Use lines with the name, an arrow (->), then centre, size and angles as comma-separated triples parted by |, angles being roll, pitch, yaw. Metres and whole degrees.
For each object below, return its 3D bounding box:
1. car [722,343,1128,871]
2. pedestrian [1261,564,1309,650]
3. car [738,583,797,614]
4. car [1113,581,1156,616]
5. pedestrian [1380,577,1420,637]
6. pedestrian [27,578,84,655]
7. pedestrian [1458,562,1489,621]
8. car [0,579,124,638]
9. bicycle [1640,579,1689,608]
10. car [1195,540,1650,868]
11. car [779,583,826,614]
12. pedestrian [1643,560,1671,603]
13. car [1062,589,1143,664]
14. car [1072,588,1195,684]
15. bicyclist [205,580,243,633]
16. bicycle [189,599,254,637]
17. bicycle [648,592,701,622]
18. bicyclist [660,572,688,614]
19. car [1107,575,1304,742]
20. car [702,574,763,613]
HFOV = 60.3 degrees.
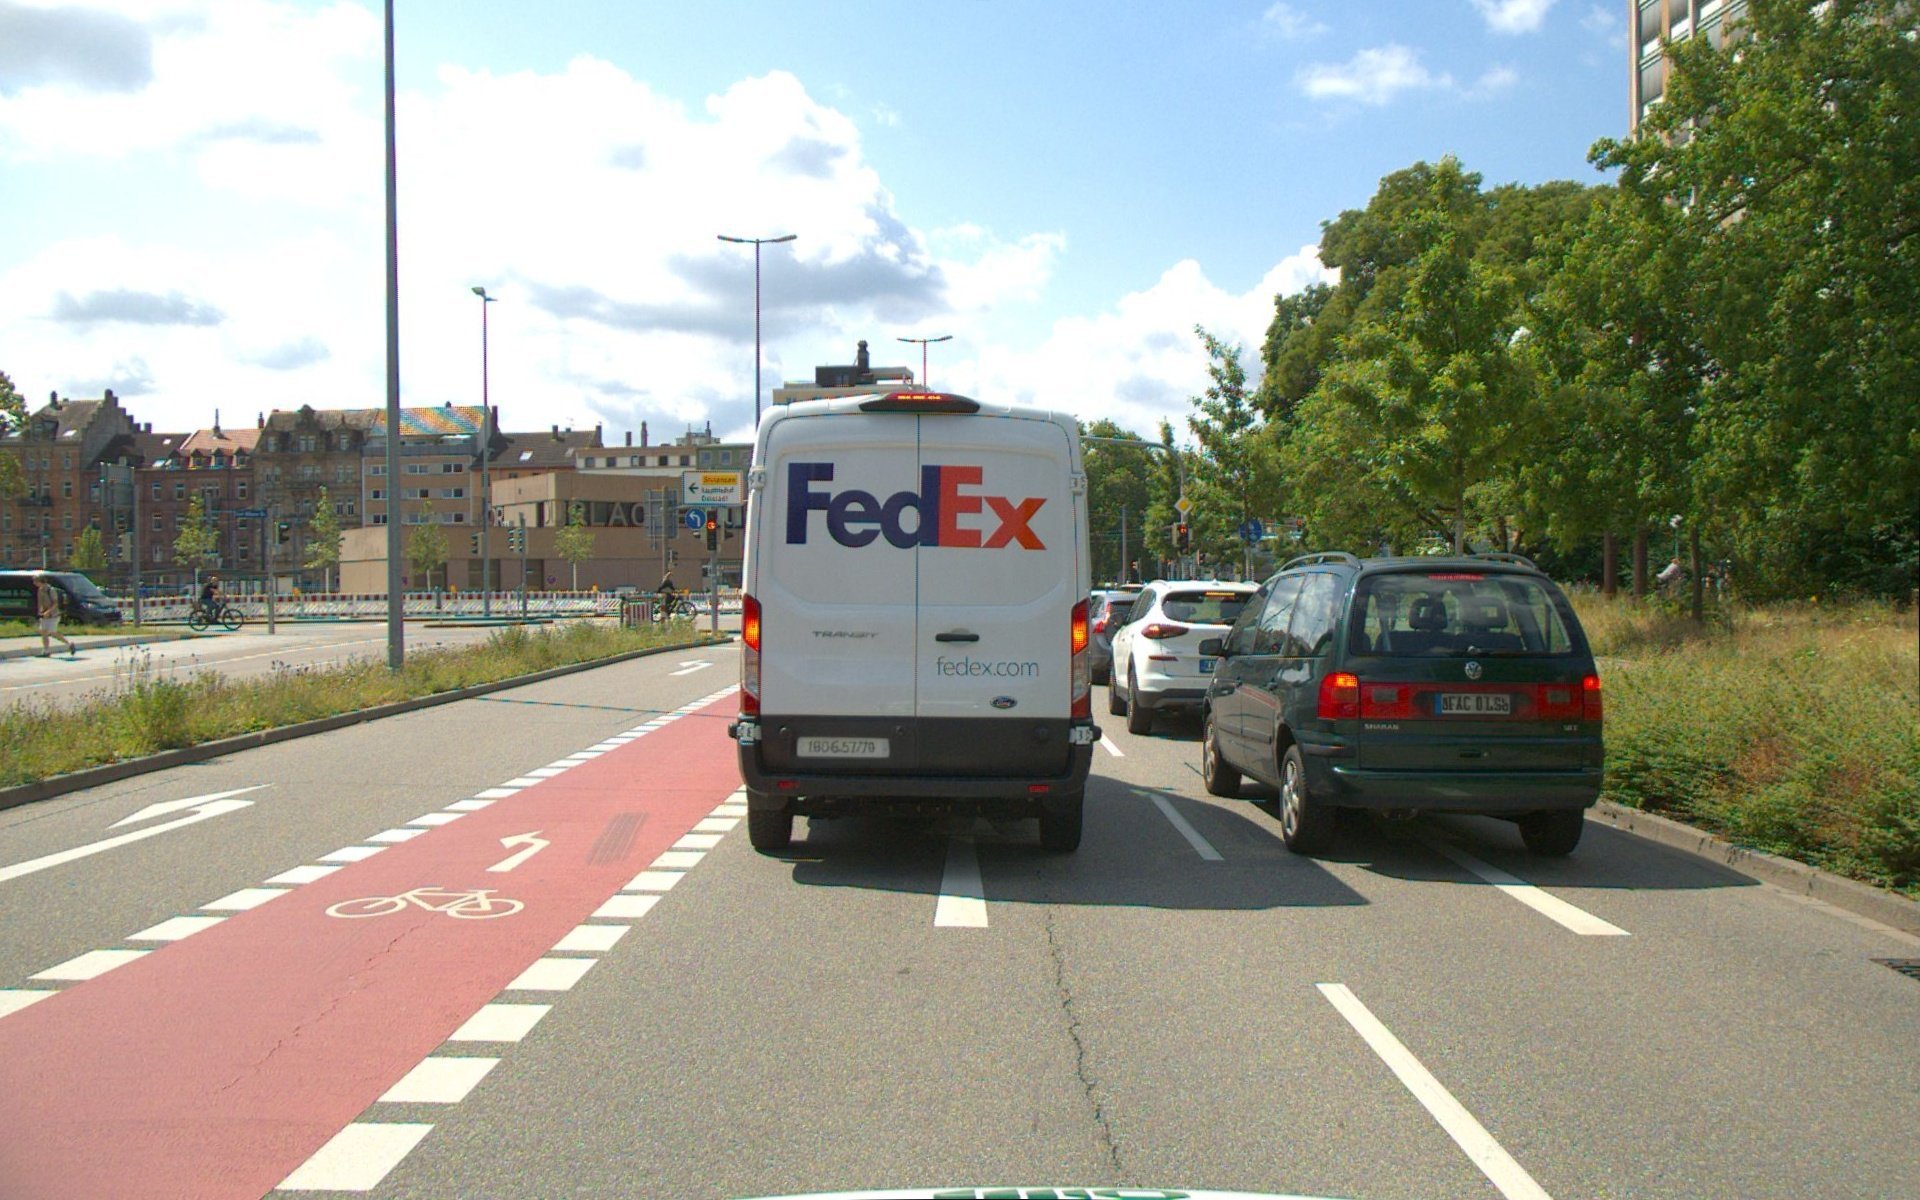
car -> -0.395, 0.023, 11.384 | 2.098, 2.699, 5.699 | 0, 0, -5
pedestrian -> 7.351, 0.155, 37.408 | 0.931, 1.925, 0.774 | 0, 0, -1
car -> -10.227, -0.067, 88.207 | 1.860, 1.613, 4.003 | -1, 0, 13
car -> 9.495, -0.091, 89.878 | 1.951, 1.825, 4.375 | -1, 0, 10
pedestrian -> 11.696, 0.179, 43.952 | 0.827, 1.565, 0.835 | 0, 0, -1
pedestrian -> -18.749, 0.332, 34.290 | 0.545, 1.587, 0.872 | 0, 1, 37
pedestrian -> 18.388, -0.301, 59.222 | 0.727, 2.094, 0.844 | -1, 0, -17
car -> -31.111, 0.291, 55.689 | 4.909, 1.911, 1.927 | -1, 1, -4
bicycle -> 24.591, -0.228, 57.750 | 1.537, 0.972, 0.486 | 0, 0, 19
car -> 2.814, 0.536, 11.125 | 1.775, 1.764, 4.388 | 0, 1, -1
car -> -8.972, -0.079, 94.411 | 1.839, 1.680, 4.003 | -1, 0, 7
pedestrian -> 24.366, -0.636, 57.816 | 0.880, 1.497, 0.486 | 0, 0, 19
car -> 2.942, 0.512, 34.622 | 1.454, 1.453, 3.433 | 0, 1, 1
car -> 2.856, 0.554, 27.949 | 1.760, 1.486, 3.839 | 0, 1, 1
bicyclist -> -26.384, 0.226, 59.294 | 1.097, 1.877, 0.593 | -1, 1, -6
bicycle -> -26.408, 0.631, 59.173 | 2.024, 1.312, 0.603 | -1, 0, -6
bicycle -> -10.330, 0.246, 59.873 | 1.884, 1.048, 0.547 | 0, 0, -8
bicyclist -> -10.342, -0.246, 59.871 | 0.950, 1.500, 0.550 | -1, 0, -8
car -> 2.715, 0.576, 19.107 | 1.760, 1.717, 4.001 | 0, 1, 1
car -> -12.262, -0.360, 89.408 | 1.951, 2.049, 4.003 | -1, 0, 14
